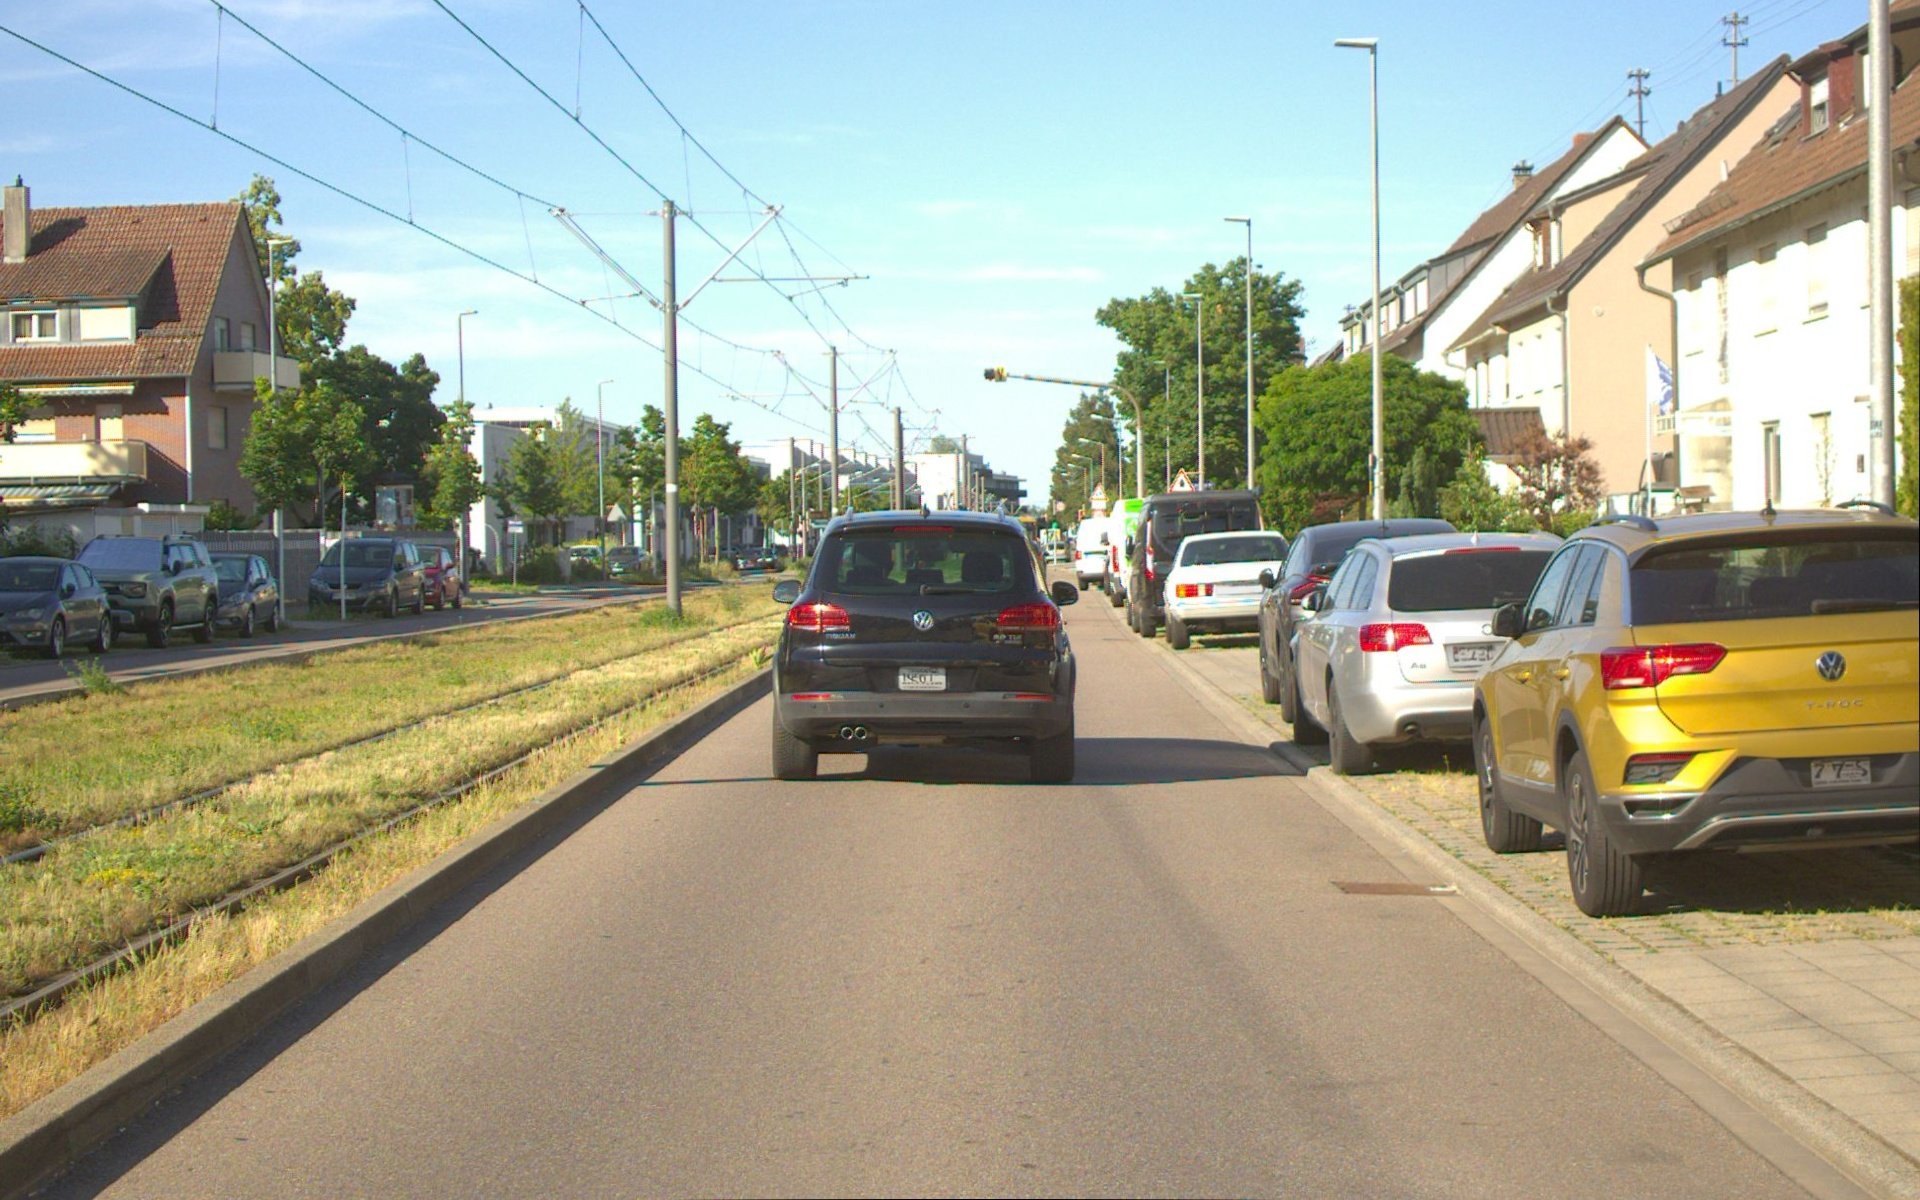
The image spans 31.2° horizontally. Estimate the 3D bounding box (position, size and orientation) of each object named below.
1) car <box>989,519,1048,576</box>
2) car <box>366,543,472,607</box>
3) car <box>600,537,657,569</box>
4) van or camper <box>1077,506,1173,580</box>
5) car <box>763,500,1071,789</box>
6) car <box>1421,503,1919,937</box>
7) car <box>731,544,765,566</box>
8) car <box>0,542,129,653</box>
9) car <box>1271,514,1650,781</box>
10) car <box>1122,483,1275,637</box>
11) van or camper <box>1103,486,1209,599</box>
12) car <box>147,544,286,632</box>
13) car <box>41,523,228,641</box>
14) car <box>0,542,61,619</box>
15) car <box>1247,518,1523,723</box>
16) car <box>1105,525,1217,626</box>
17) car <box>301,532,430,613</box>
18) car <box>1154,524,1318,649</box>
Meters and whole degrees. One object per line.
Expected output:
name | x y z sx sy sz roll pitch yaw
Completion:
car | 1.911 -1.745 113.705 1.627 1.822 4.131 -1 1 -3
car | -12.718 -0.606 80.943 1.695 1.400 4.078 -1 1 2
car | -15.517 -2.199 161.005 1.811 1.456 4.316 1 1 6
van or camper | 4.595 -1.589 94.858 2.028 1.949 5.293 -1 1 9
car | -0.267 0.230 21.989 1.775 1.664 4.000 1 1 -1
car | 3.259 0.392 15.075 1.805 1.553 4.927 -2 1 0
car | -13.812 -2.947 224.214 1.688 1.384 4.387 -3 1 3
car | -13.640 -0.071 49.896 1.960 1.535 4.557 1 1 1
car | 3.124 0.219 22.334 1.748 1.442 4.699 -2 2 0
car | 3.532 -0.617 51.741 1.960 2.137 5.335 -2 1 1
van or camper | 4.177 -1.226 74.197 1.993 2.263 6.304 -2 1 2
car | -13.373 -0.241 61.997 1.676 1.485 4.050 1 1 -1
car | -13.365 -0.328 55.929 1.745 1.816 4.841 1 1 1
car | -19.440 -0.396 66.638 3.631 1.456 1.692 1 1 -3
car | 3.363 0.097 27.954 1.777 1.493 4.728 -1 1 2
car | 3.459 -0.440 59.784 1.725 1.640 4.319 -2 1 1
car | -12.919 -0.623 74.978 1.819 1.678 4.846 1 1 2
car | 3.539 -0.231 44.923 1.853 1.439 5.613 -3 1 2
